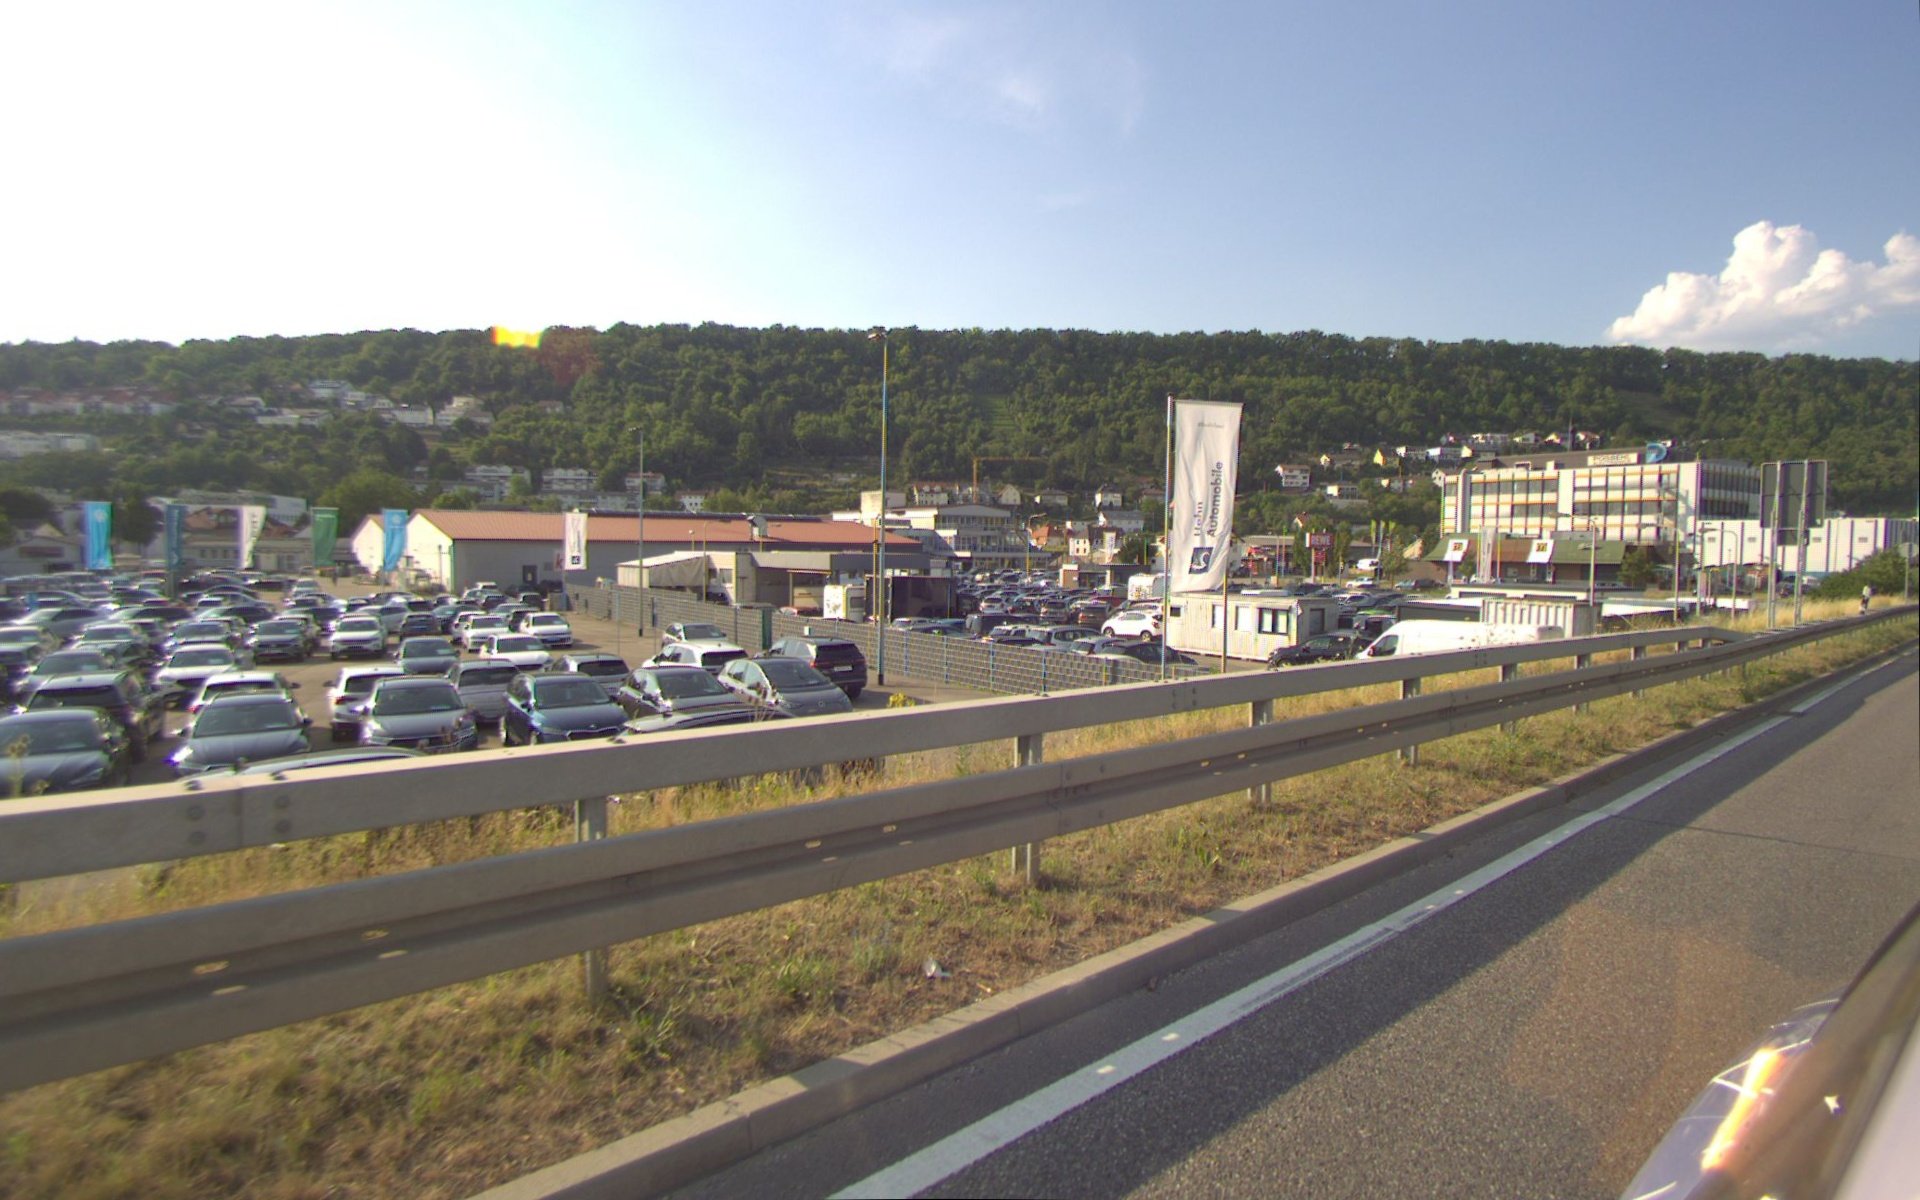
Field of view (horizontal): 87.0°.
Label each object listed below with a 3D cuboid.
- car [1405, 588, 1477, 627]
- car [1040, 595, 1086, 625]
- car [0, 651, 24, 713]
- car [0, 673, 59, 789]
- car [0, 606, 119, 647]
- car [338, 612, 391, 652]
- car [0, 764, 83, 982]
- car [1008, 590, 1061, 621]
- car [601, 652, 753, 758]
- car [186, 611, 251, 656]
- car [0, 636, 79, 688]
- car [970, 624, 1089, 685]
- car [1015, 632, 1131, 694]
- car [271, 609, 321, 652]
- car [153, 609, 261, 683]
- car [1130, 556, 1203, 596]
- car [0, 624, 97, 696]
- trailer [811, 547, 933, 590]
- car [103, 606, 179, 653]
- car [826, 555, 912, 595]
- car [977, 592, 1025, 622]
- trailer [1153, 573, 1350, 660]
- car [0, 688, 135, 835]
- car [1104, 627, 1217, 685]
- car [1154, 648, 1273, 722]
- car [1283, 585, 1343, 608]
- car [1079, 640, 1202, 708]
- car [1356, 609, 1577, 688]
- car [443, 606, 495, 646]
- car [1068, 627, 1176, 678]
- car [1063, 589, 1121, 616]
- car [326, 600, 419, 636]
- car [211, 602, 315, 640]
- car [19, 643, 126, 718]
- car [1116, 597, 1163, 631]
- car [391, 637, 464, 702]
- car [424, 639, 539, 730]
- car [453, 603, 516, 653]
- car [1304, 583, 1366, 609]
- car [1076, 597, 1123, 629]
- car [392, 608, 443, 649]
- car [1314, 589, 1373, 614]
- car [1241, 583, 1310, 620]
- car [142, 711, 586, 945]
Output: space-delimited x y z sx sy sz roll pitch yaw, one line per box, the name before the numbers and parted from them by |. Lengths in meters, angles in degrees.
car | 27.493 0.382 57.766 4.741 1.976 1.760 -3 2 -38
car | 6.029 0.550 58.828 1.662 1.589 3.748 -1 2 23
car | -25.105 2.174 25.136 1.745 1.474 4.005 -2 2 -29
car | -18.443 2.420 18.811 1.850 1.656 4.441 -2 2 -33
car | -43.356 1.242 48.607 1.855 1.656 4.429 -1 2 10
car | -26.812 1.392 45.513 1.796 1.521 4.002 -2 2 -33
car | -10.361 2.658 8.688 4.238 1.646 1.740 -3 2 -42
car | 4.552 0.300 61.256 1.755 1.704 3.633 0 2 32
car | -6.151 2.125 21.651 1.850 1.656 4.441 -2 2 -33
car | -31.515 1.391 43.119 1.722 1.661 3.970 -2 2 -29
car | -32.873 2.171 35.791 1.677 1.482 4.005 -2 2 -28
car | 2.378 1.799 34.359 3.841 1.715 1.602 -3 2 -35
car | 3.681 1.982 32.763 3.601 1.630 1.601 -3 2 -37
car | -29.115 1.292 44.393 1.723 1.661 3.967 -2 2 -33
car | -24.027 1.383 32.453 1.959 2.038 4.007 -2 2 -25
car | 14.122 -1.665 68.988 5.371 2.581 1.760 -3 2 -38
car | -26.897 1.694 29.594 1.746 1.749 4.004 -2 2 -30
trailer | -4.541 -1.672 52.971 6.168 2.047 1.999 -3 2 -36
car | -33.462 1.164 41.468 1.722 1.661 3.970 -2 2 -29
car | -5.873 -1.641 65.604 5.229 2.468 2.000 -3 2 -36
car | 2.612 0.405 64.167 1.751 1.704 3.642 -1 2 25
trailer | 12.557 0.585 44.364 3.297 3.363 7.903 -2 2 -36
car | -13.689 2.332 15.201 1.598 1.593 3.488 -2 2 -33
car | 6.965 1.878 34.927 4.105 1.524 1.601 -3 4 -39
car | 7.163 2.326 28.452 1.598 1.630 3.610 0 2 45
car | 27.187 -0.311 77.989 4.388 1.585 1.764 -2 2 -25
car | 5.467 2.182 30.499 3.601 1.630 1.601 -3 2 -37
car | 15.633 1.401 31.615 1.964 2.038 5.896 -2 2 -38
car | -23.224 1.193 47.796 1.723 1.661 3.967 -2 2 -33
car | 5.892 1.853 36.625 3.794 1.530 1.602 -3 2 -35
car | 8.728 0.131 67.094 3.367 1.636 1.810 -2 2 -18
car | -31.112 0.912 53.751 1.855 1.656 4.429 -1 2 10
car | -36.041 1.050 52.480 1.855 1.656 4.429 -1 2 10
car | -23.576 2.067 27.006 1.598 1.593 3.488 -2 2 -33
car | 9.571 0.726 53.763 1.662 1.589 3.748 -1 2 23
car | -16.031 2.016 30.413 1.598 1.593 3.488 -2 2 -33
car | -11.496 1.918 24.166 1.850 1.656 4.441 -2 2 -33
car | -20.442 1.149 43.425 1.890 1.883 4.002 -2 2 -33
car | 23.535 -0.282 63.507 3.601 1.521 1.771 -2 2 -31
car | 7.812 0.681 56.419 1.662 1.589 3.748 -1 2 23
car | -25.003 1.265 46.584 1.723 1.661 3.967 -2 2 -33
car | 27.362 0.088 72.137 4.741 1.585 1.760 -3 2 -38
car | 21.191 0.077 67.875 5.202 2.274 1.760 -3 2 -38
car | -6.897 2.468 12.024 4.242 1.646 1.738 -3 2 -44
